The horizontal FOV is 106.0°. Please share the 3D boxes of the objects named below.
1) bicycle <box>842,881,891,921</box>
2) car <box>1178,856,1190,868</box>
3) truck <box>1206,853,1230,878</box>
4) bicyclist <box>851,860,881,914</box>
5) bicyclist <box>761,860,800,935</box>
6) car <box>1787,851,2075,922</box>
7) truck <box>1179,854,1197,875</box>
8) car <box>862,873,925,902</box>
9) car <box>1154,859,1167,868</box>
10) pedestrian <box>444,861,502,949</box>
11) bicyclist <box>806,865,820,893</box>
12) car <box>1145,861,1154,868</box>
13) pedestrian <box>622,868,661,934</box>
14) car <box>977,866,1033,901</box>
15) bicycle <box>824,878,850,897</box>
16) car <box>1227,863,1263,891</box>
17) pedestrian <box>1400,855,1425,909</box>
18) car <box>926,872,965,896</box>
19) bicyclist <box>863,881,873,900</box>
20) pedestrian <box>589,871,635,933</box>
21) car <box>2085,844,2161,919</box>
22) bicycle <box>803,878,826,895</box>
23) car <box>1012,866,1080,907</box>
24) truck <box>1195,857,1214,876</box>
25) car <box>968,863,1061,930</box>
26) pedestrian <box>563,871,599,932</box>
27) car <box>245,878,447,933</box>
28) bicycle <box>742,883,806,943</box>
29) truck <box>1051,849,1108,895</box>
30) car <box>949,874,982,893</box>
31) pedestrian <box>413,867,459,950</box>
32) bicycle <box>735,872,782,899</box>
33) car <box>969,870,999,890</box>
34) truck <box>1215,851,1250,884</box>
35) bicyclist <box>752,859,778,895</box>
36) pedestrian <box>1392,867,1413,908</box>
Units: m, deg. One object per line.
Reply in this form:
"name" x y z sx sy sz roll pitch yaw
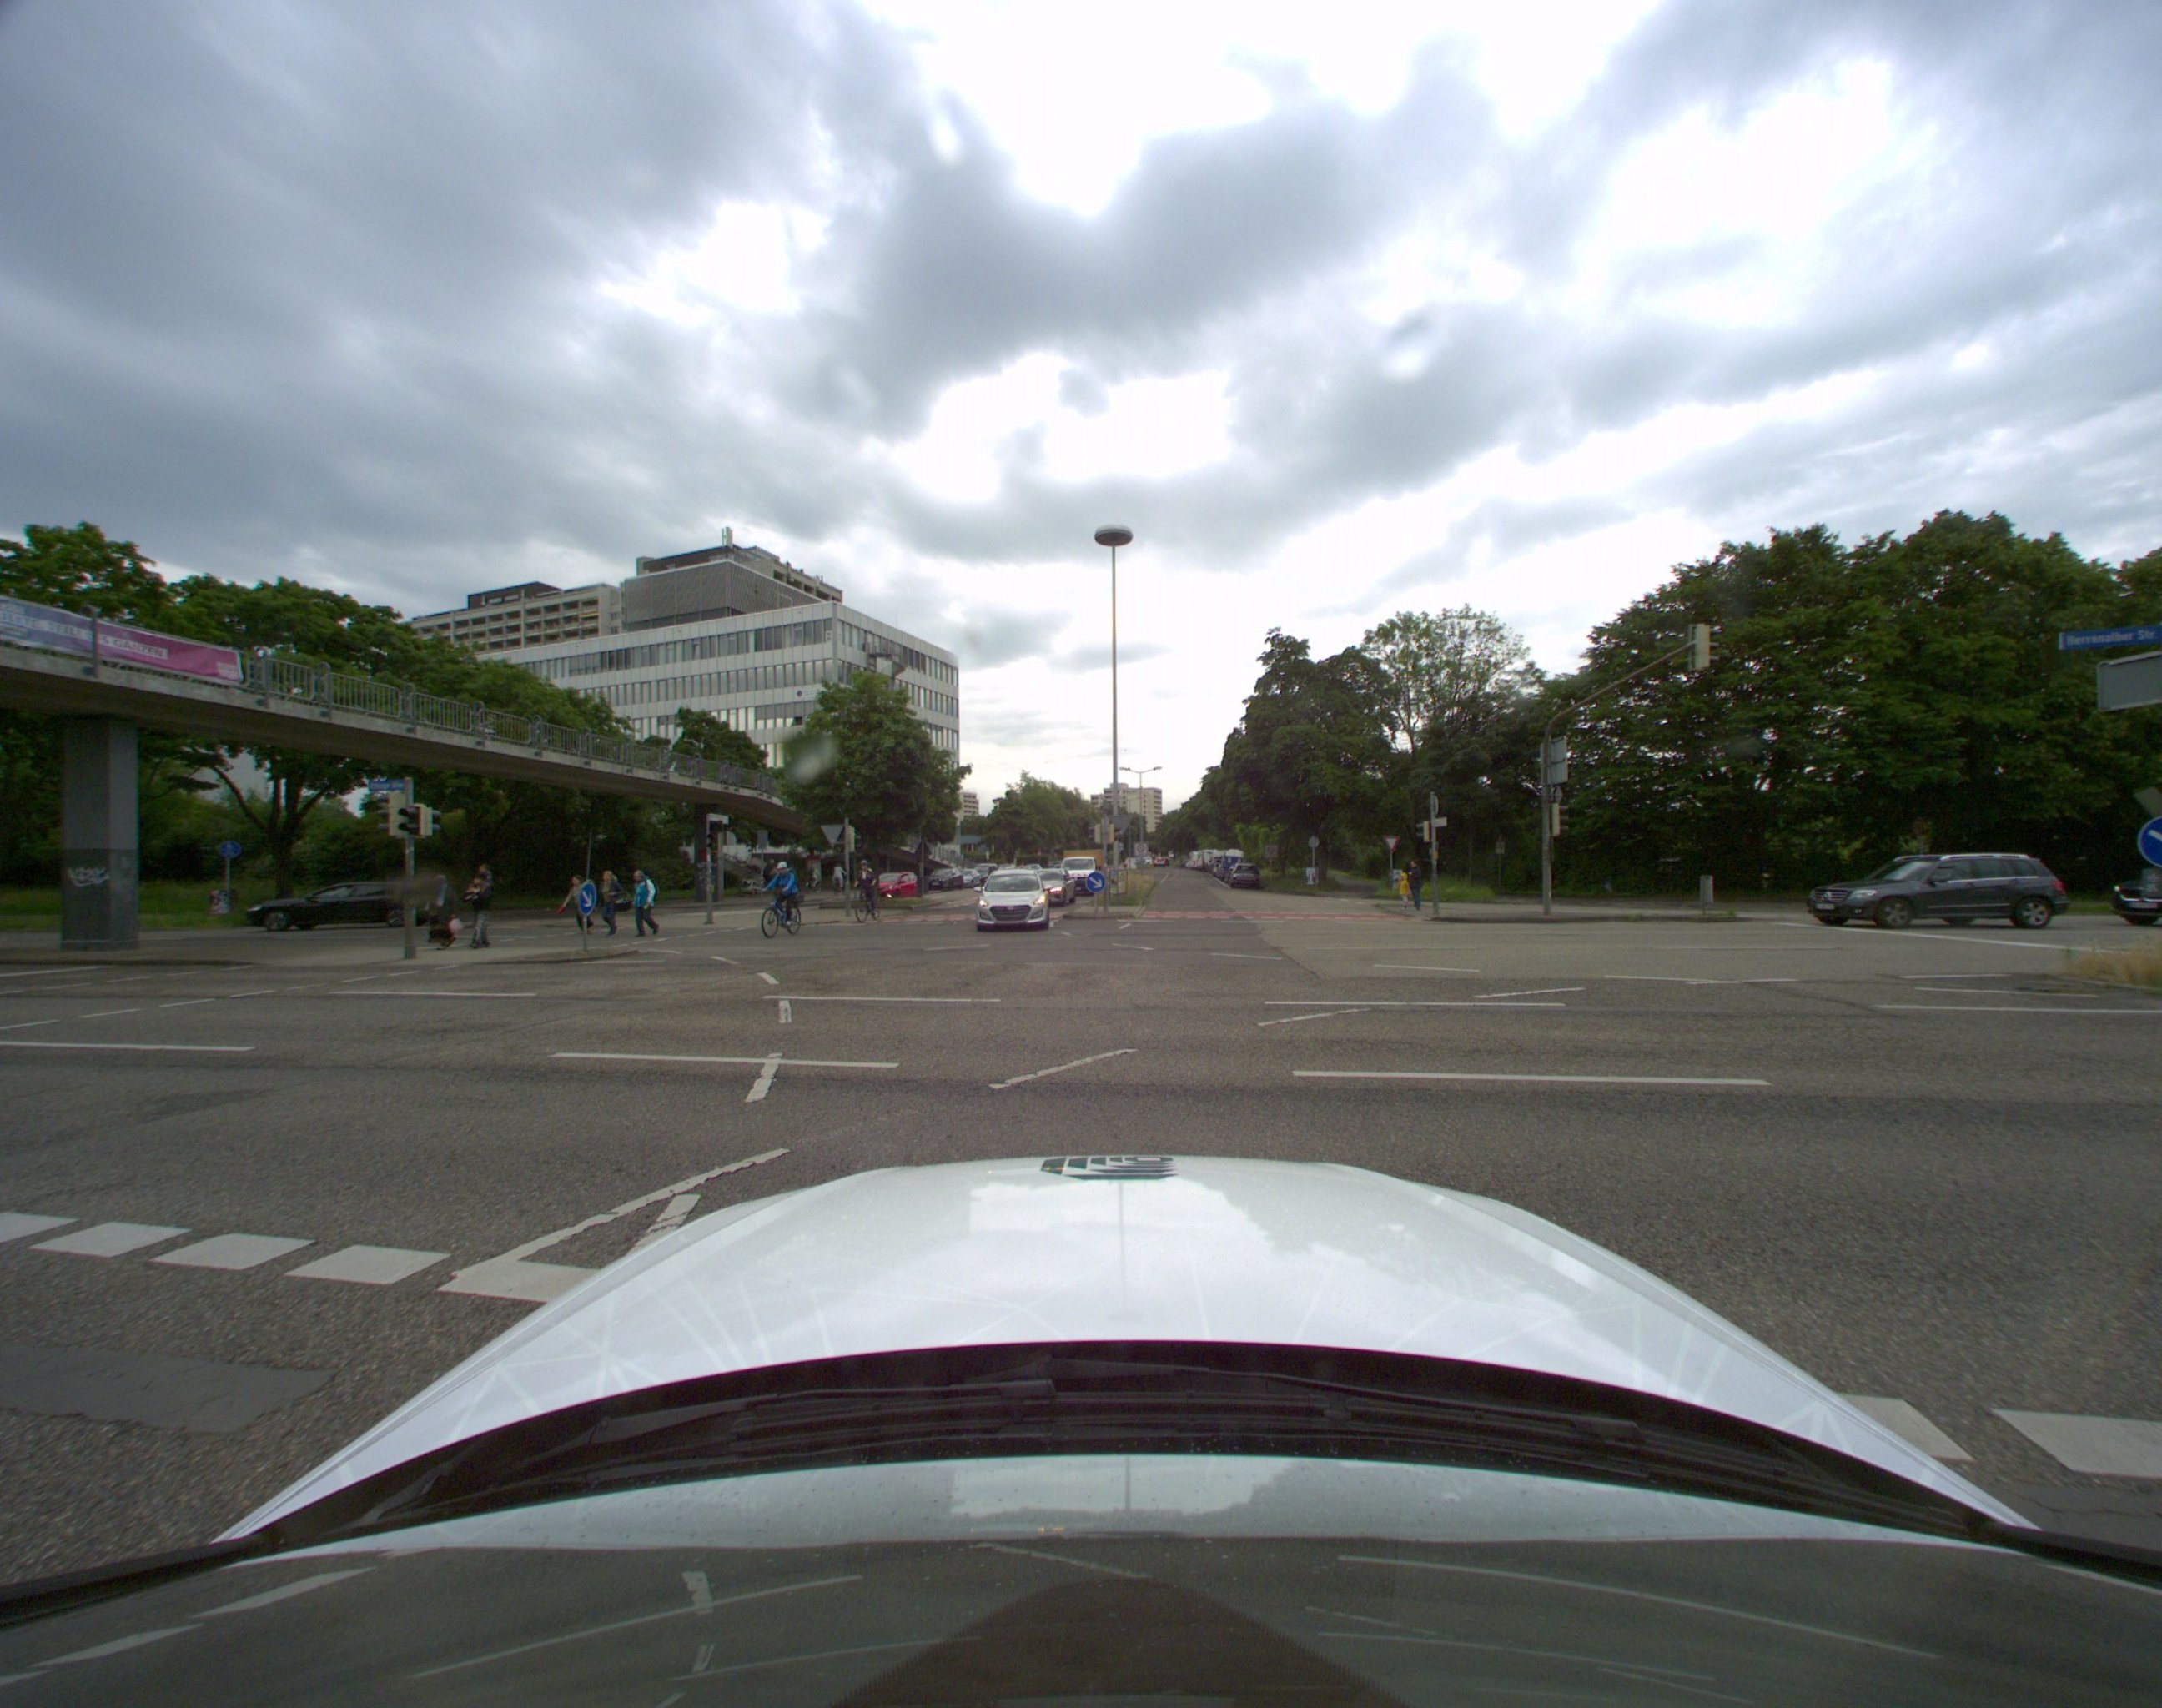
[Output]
"bicycle" -6.467 1.401 24.700 0.723 1.101 2.267 -1 -1 5
"car" 17.271 1.311 136.425 1.645 1.918 3.919 -1 0 1
"truck" 16.360 1.387 97.468 1.986 2.838 5.732 -1 -1 1
"bicyclist" -6.468 0.977 24.555 0.676 1.594 0.696 -1 -2 4
"bicyclist" -7.220 1.034 19.568 0.641 1.769 0.648 -1 -1 6
"car" 19.301 0.718 18.676 4.443 1.504 1.849 -1 -1 5
"truck" 15.822 1.526 120.472 1.986 3.009 5.773 -1 -2 2
"car" -9.186 1.631 40.218 1.501 1.390 3.547 -1 -2 16
"car" 13.613 1.667 139.960 2.012 1.505 4.002 -1 -1 2
"pedestrian" -12.826 1.058 17.209 0.635 1.804 0.801 -1 -1 -4
"bicyclist" -15.611 1.469 47.465 0.561 1.644 0.533 -1 -2 11
"car" 15.569 2.435 185.063 2.011 1.505 4.005 -1 -1 5
"pedestrian" -10.941 1.162 20.280 0.685 1.605 0.488 -1 -1 0
"car" -3.398 1.299 37.358 1.761 1.478 4.395 -1 -1 5
"bicycle" -13.497 1.848 45.155 0.759 0.949 1.954 -1 -1 2
"car" 10.322 1.421 51.578 1.775 1.662 4.005 -1 -1 5
"pedestrian" 10.920 0.908 26.838 0.654 1.750 0.459 -1 -1 4
"car" -9.418 2.089 56.795 1.663 1.552 3.897 -1 -1 6
"bicyclist" -13.471 2.321 51.579 0.429 1.217 0.568 -1 -1 4
"pedestrian" -11.822 1.205 20.560 0.916 1.511 0.403 -1 -1 -7
"car" 25.347 0.570 17.926 3.970 1.618 1.880 -1 -1 3
"bicycle" -15.545 1.889 47.515 0.523 0.949 1.714 -1 -1 10
"car" -1.267 1.194 31.745 1.887 1.420 4.744 -1 -1 6
"truck" 16.575 1.707 109.570 1.985 2.573 5.382 -1 -2 3
"car" -1.618 1.019 21.363 1.781 1.519 4.329 -2 -1 4
"pedestrian" -13.190 1.237 21.487 0.579 1.579 0.778 0 -1 -14
"car" -22.976 1.562 25.678 4.399 1.508 1.661 -1 0 -21
"bicycle" -7.198 1.354 19.208 0.540 1.267 2.113 -1 -1 5
"truck" 0.027 0.906 41.829 2.143 2.199 5.852 -1 -1 8
"car" -8.793 2.241 62.263 1.663 1.387 3.901 -1 -1 6
"pedestrian" -13.425 1.115 16.967 0.618 1.691 0.404 0 -1 -9
"bicycle" -17.086 1.650 43.282 0.851 1.315 3.236 -1 0 7
"car" -8.028 2.166 67.558 1.663 1.552 3.767 -1 -1 5
"truck" 12.647 1.161 68.280 2.164 2.656 6.253 -1 -2 5
"bicyclist" -17.052 1.246 43.967 0.851 1.893 1.130 -1 0 7
"pedestrian" 10.836 1.127 27.442 0.524 1.342 0.525 -1 -1 4
